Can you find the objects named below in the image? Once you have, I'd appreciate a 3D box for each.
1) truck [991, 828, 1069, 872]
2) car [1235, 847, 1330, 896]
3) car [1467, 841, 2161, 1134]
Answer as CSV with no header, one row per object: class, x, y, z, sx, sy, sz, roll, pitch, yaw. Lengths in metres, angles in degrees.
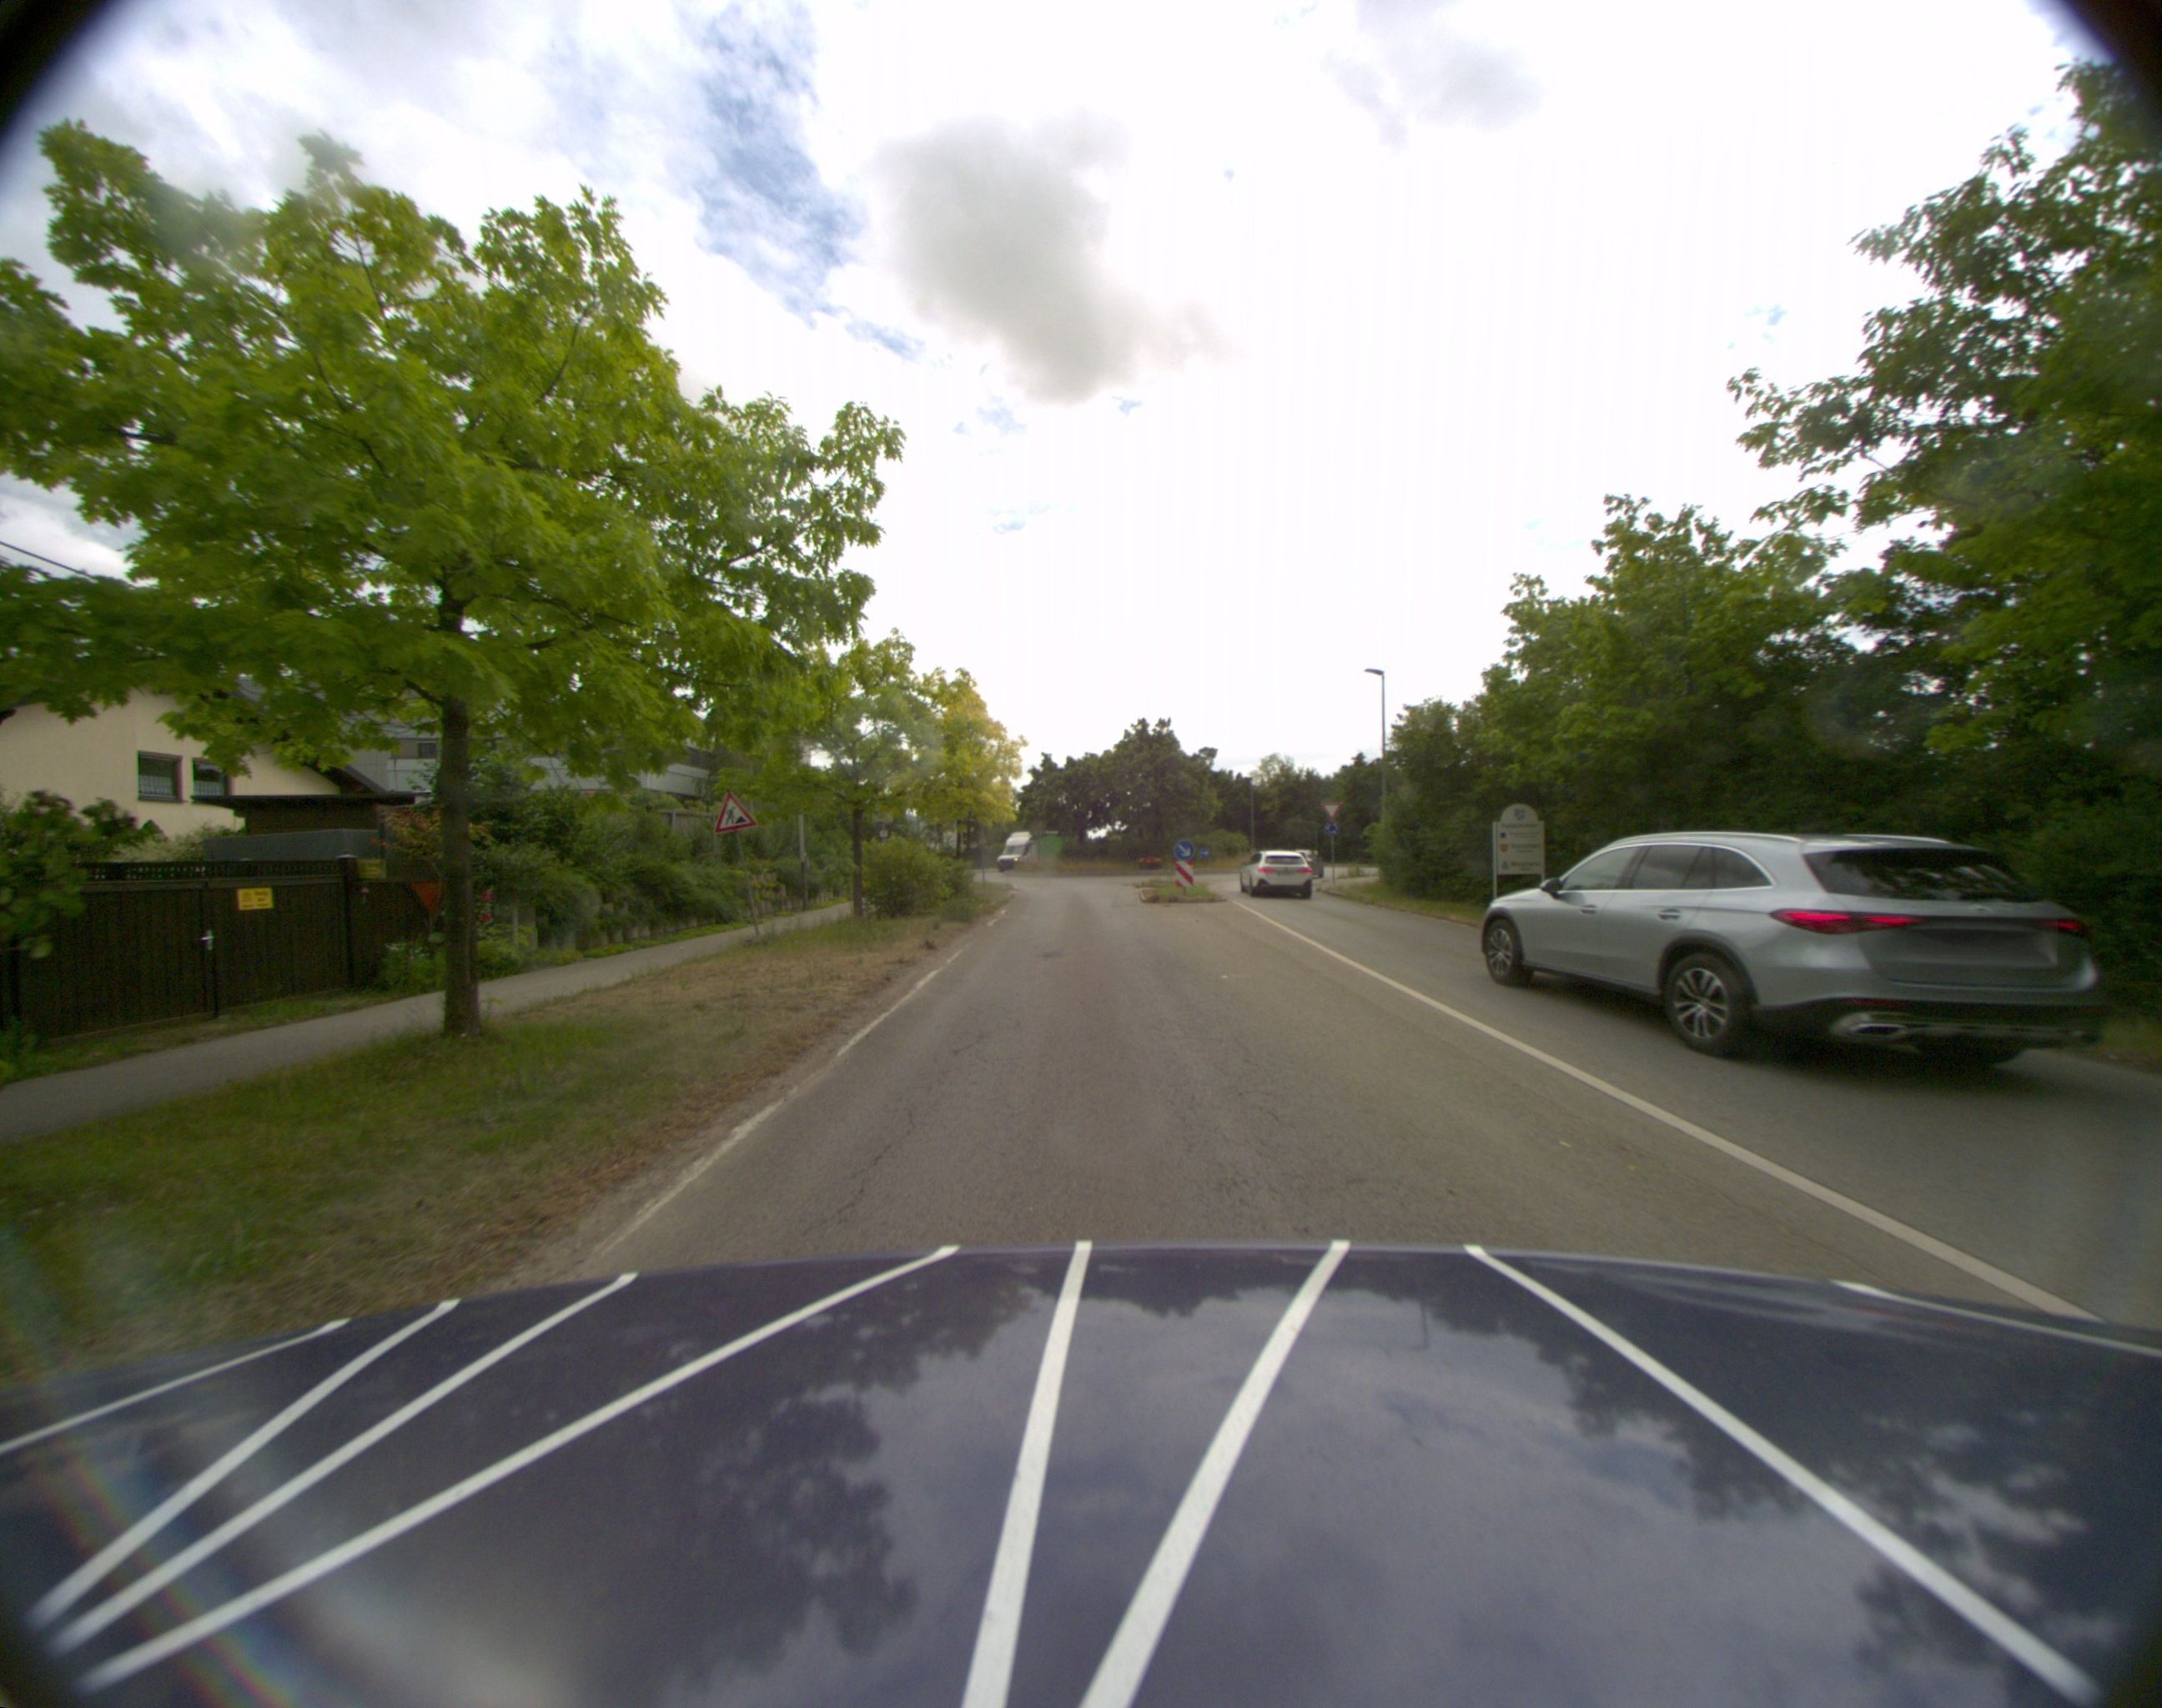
truck,-4.119,-0.382,63.145,2.609,3.428,7.520,-1,0,30
car,6.644,0.543,25.670,2.218,1.445,4.944,1,0,4
car,5.436,0.719,6.559,1.998,1.592,4.665,1,1,3
